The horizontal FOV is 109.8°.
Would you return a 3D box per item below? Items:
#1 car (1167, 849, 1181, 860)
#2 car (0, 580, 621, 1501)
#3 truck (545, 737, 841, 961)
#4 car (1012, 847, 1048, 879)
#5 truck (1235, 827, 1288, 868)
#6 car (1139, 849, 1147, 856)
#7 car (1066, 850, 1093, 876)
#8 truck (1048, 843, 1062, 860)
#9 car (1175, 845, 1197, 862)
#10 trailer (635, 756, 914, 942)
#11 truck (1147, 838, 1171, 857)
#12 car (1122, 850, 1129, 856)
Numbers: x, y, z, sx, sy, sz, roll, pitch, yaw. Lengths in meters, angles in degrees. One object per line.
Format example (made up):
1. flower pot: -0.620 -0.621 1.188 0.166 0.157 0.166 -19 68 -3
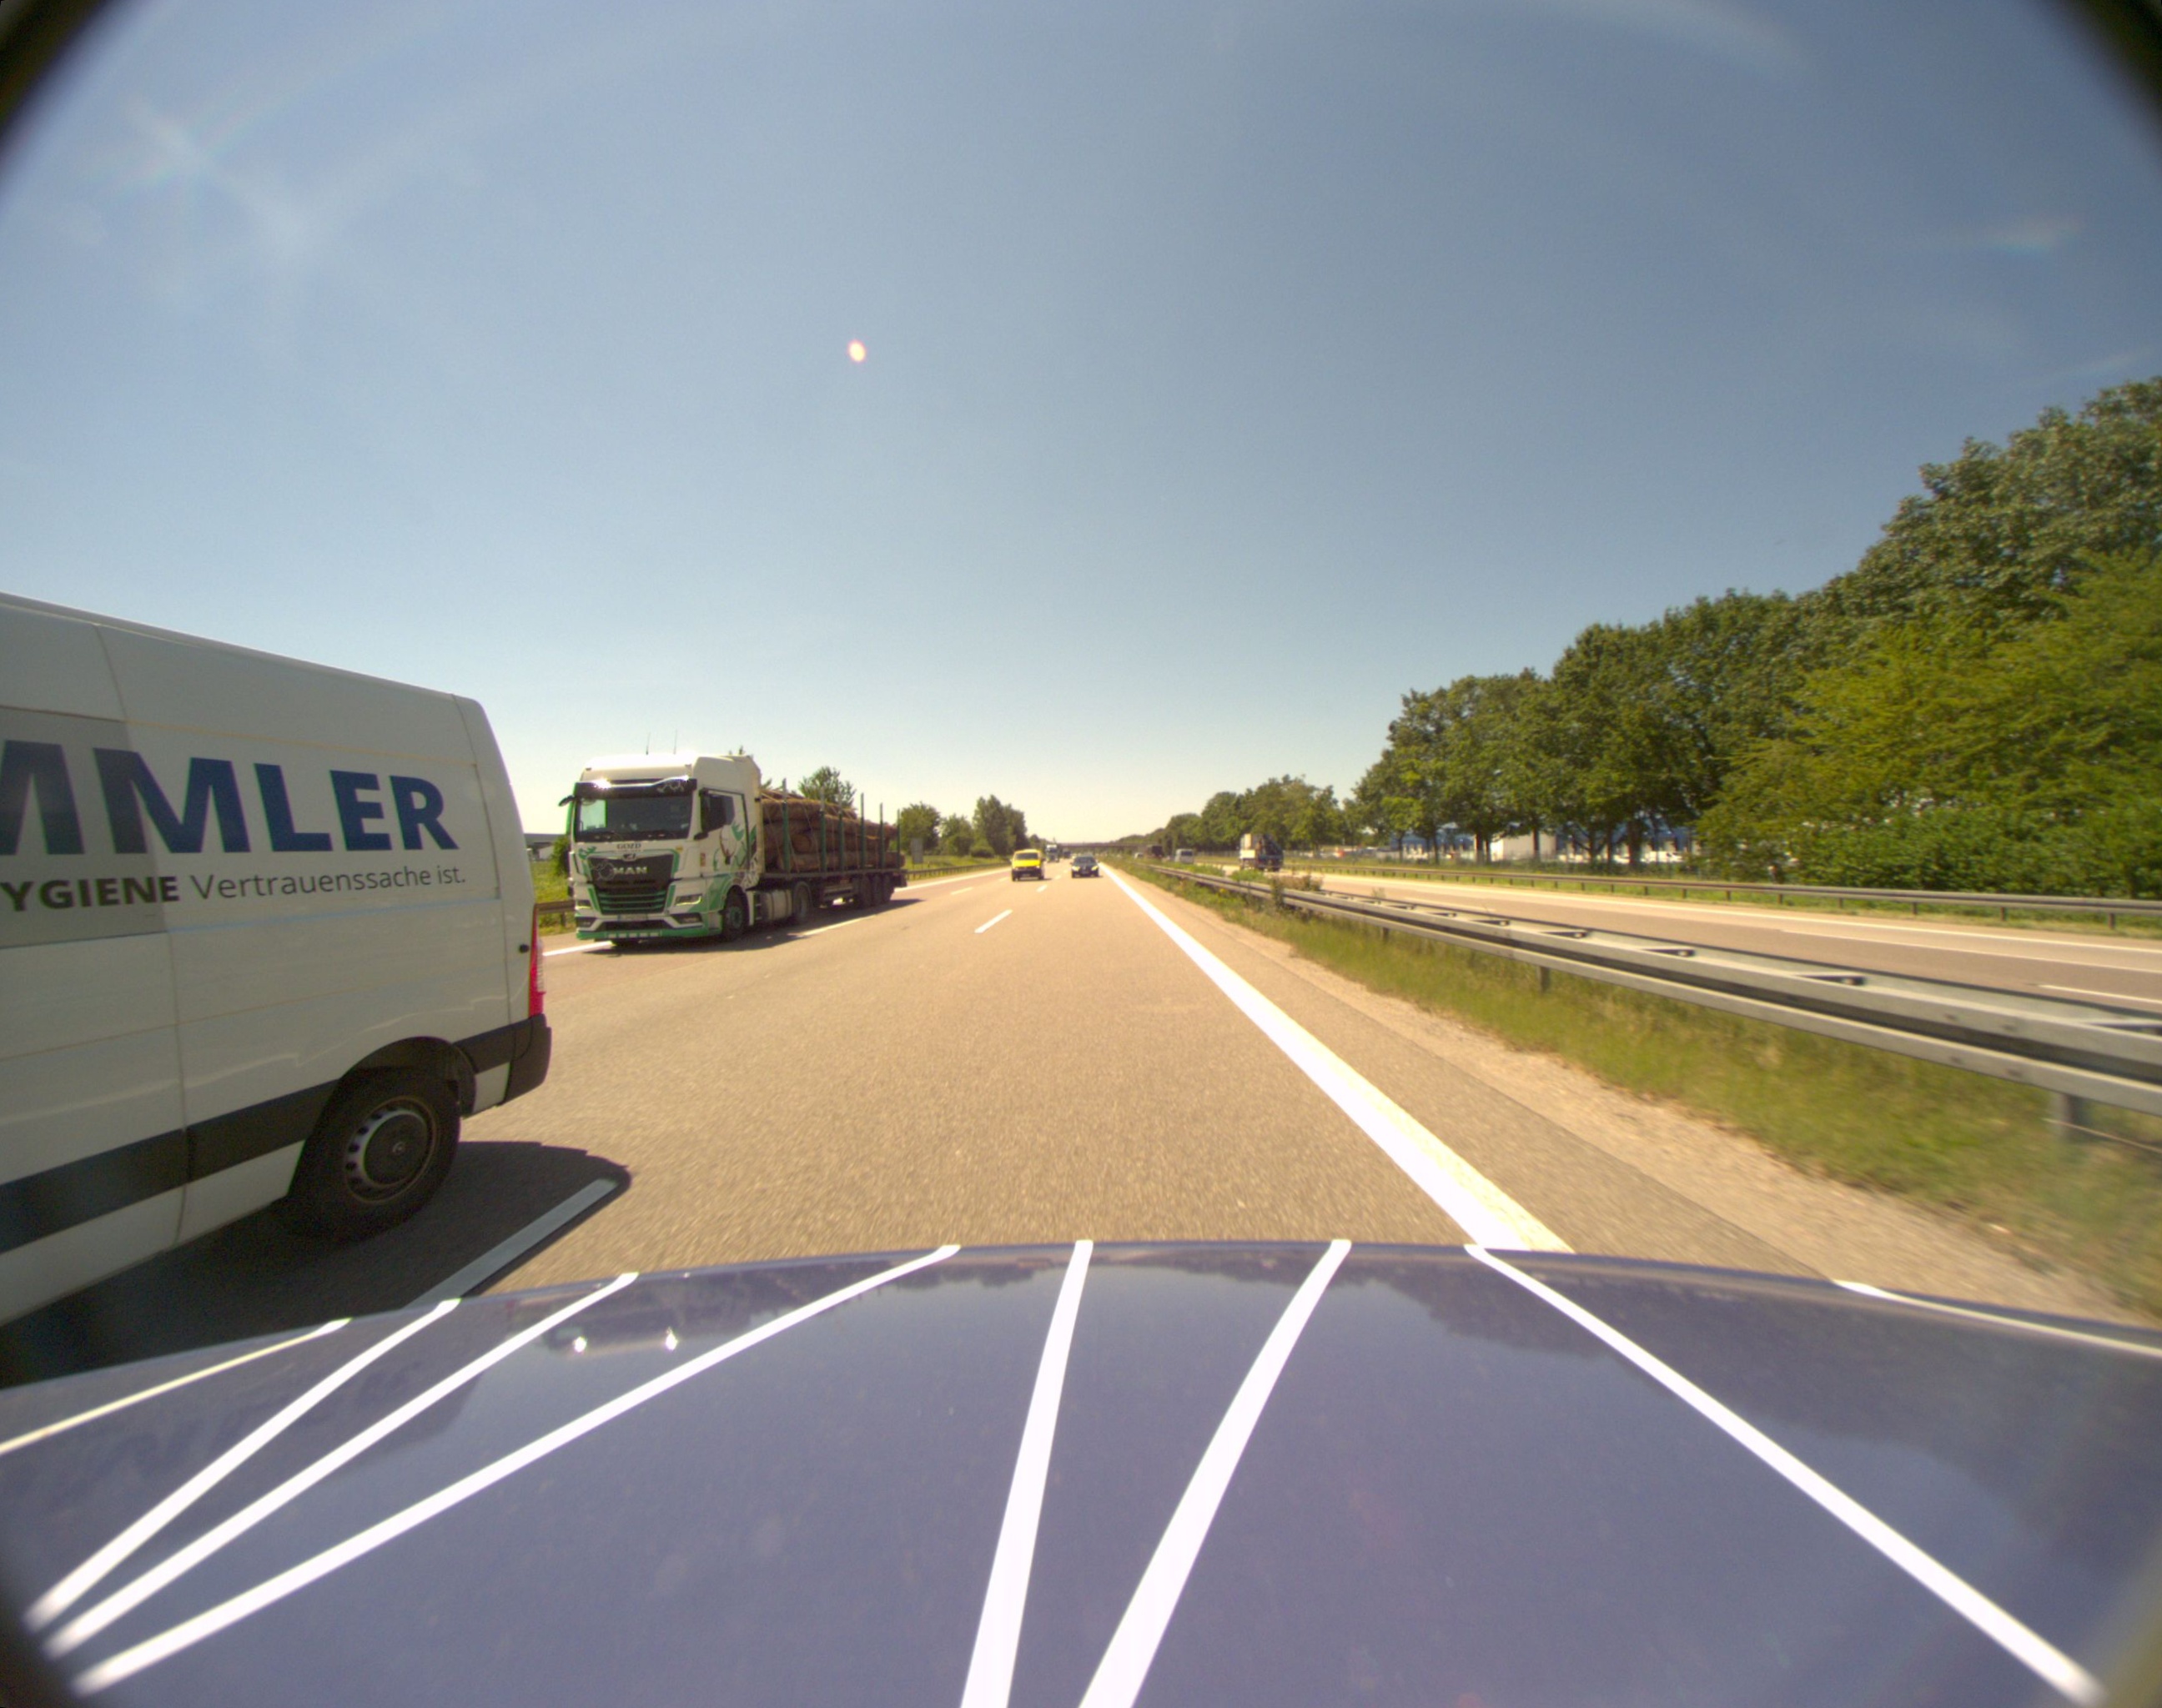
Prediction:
1. car: 14.904 0.146 122.242 1.916 1.695 3.781 1 0 3
2. car: -4.025 0.533 1.737 2.159 2.494 5.945 -2 1 1
3. truck: -8.230 -0.107 17.612 2.700 3.943 7.702 -2 0 0
4. car: -3.261 0.559 49.383 1.958 1.939 3.999 -2 1 1
5. truck: 17.826 -0.664 75.659 3.012 3.769 9.600 -1 1 0
6. car: 15.451 -0.322 189.876 1.682 1.645 3.850 -2 1 1
7. car: -0.086 0.571 51.512 1.690 1.646 3.461 -2 1 1
8. truck: -6.039 -0.622 174.964 2.976 3.626 7.148 -2 1 -1
9. car: 14.354 -0.094 103.731 2.318 2.275 5.603 1 0 1
10. trailer: -8.187 -0.142 23.475 2.700 3.943 13.960 -2 0 0
11. truck: 19.573 -1.644 191.267 4.430 4.580 11.977 -2 1 -1
12. car: 11.389 -0.308 194.811 1.693 1.503 3.879 -2 1 5
